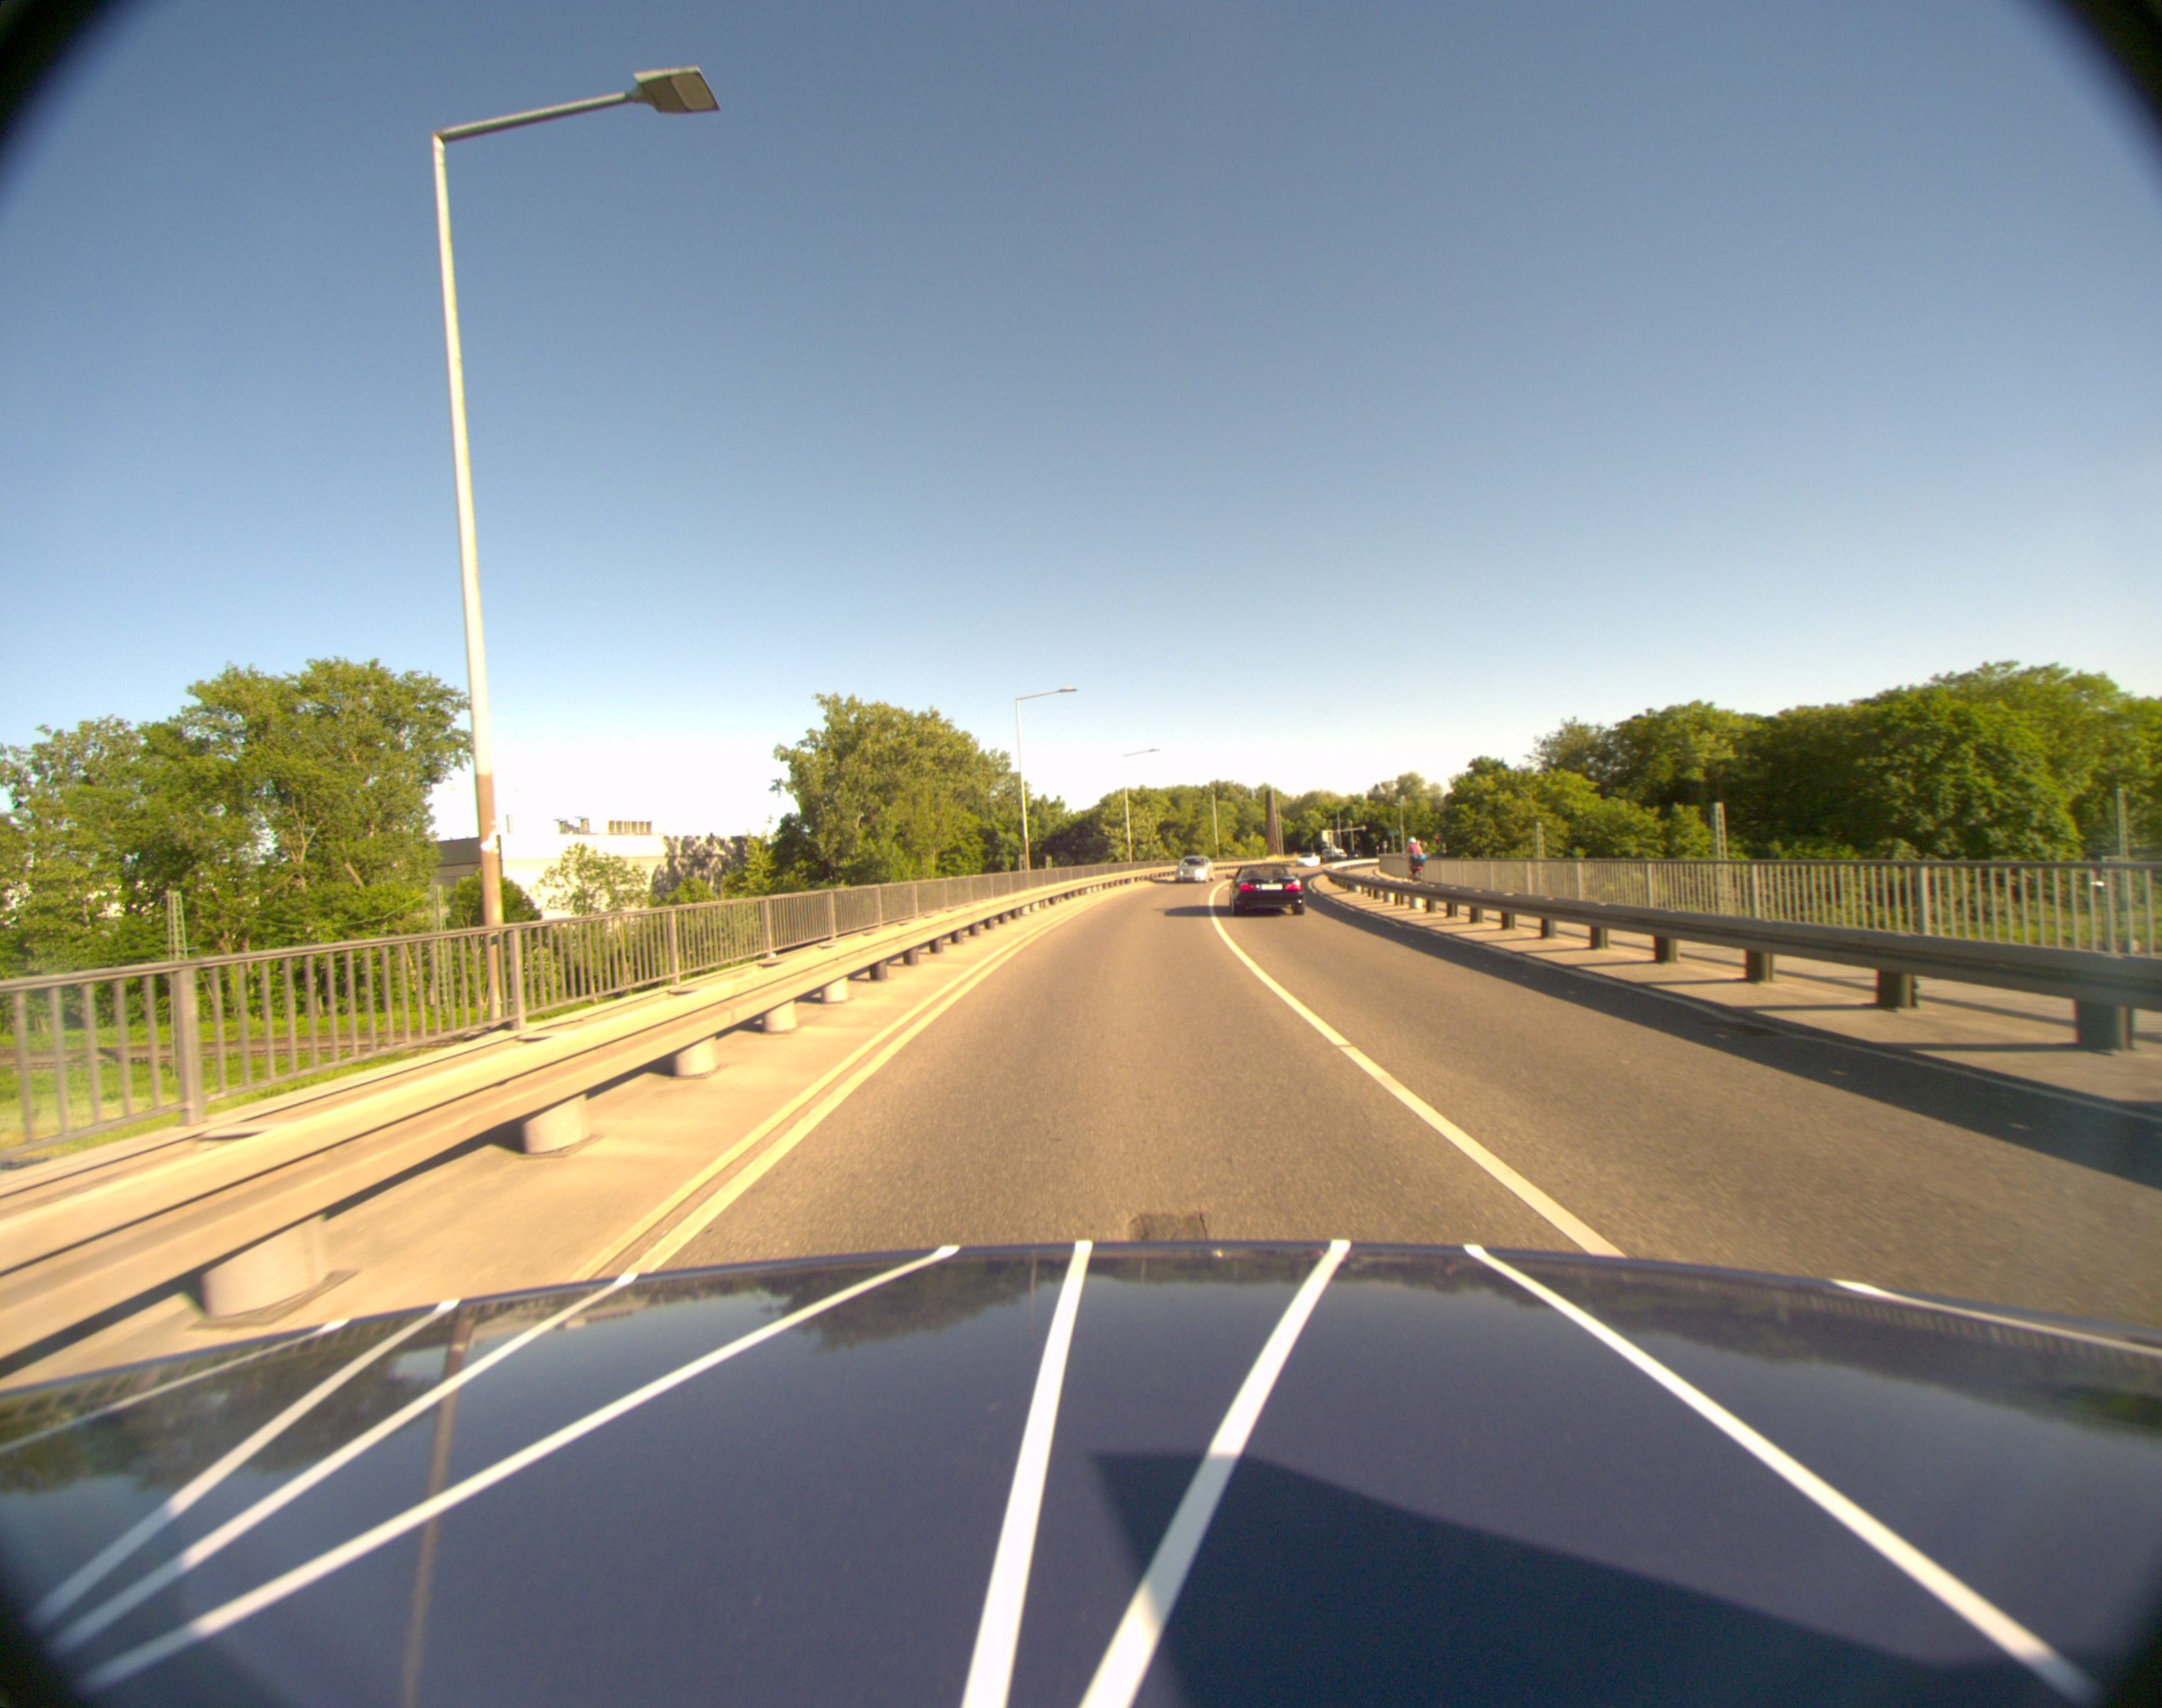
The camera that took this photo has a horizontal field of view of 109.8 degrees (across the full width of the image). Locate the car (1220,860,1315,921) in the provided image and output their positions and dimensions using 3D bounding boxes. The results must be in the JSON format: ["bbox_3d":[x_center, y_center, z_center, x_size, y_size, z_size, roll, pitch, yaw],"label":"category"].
[{"bbox_3d":[4.744,0.874,19.902,1.748,1.347,4.183,-1,0,4],"label":"car"}]

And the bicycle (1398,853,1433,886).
[{"bbox_3d":[11.253,0.496,25.626,0.655,1.058,1.891,-1,0,10],"label":"bicycle"}]

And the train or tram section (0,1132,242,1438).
[{"bbox_3d":[-27.961,9.794,17.835,13.072,5.234,3.337,-1,1,2],"label":"train or tram section"}]

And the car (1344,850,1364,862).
[{"bbox_3d":[38.789,0.331,107.978,1.918,1.608,3.750,-1,0,31],"label":"car"}]

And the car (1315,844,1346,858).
[{"bbox_3d":[47.807,-0.510,145.853,2.118,2.484,5.696,-2,-2,-26],"label":"car"}]

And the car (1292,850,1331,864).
[{"bbox_3d":[24.620,0.310,81.152,4.138,1.465,1.989,-1,0,-41],"label":"car"}]

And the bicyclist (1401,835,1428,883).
[{"bbox_3d":[11.265,0.162,25.711,0.655,1.580,0.769,-1,1,10],"label":"bicyclist"}]

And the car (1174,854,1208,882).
[{"bbox_3d":[6.175,0.730,42.547,1.763,1.428,4.333,-1,0,9],"label":"car"}]
